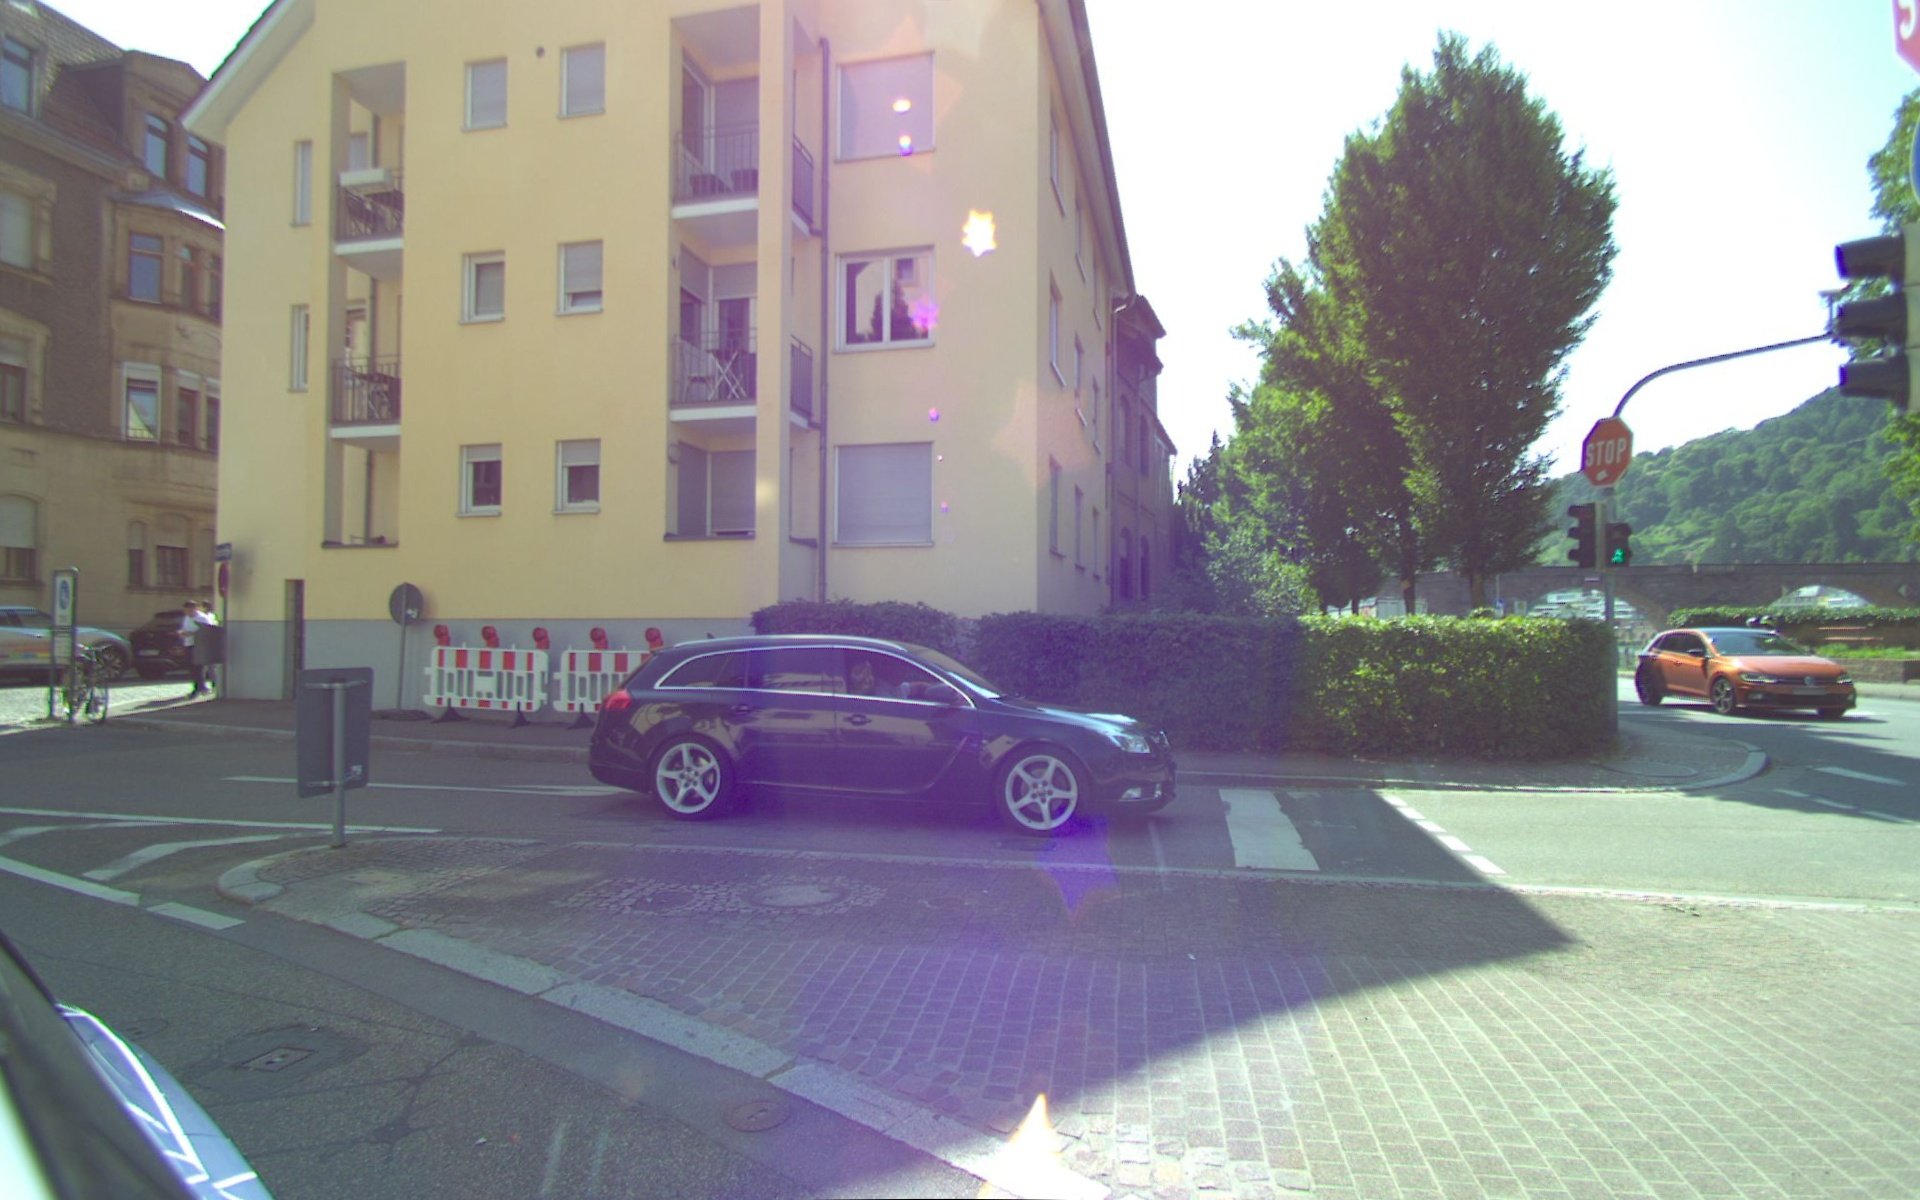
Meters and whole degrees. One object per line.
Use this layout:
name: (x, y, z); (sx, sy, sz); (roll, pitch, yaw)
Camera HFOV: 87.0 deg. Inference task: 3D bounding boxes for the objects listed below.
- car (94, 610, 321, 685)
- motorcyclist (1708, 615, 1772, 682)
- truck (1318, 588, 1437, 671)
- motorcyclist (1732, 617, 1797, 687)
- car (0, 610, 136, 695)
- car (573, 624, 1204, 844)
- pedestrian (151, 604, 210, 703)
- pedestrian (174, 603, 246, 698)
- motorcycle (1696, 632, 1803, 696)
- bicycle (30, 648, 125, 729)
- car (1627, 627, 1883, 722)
car: (-17.157, 1.040, 23.339); (1.834, 1.556, 3.984); (-1, -1, 12)
motorcyclist: (17.954, 1.100, 23.302); (0.809, 1.506, 0.872); (0, -1, 8)
truck: (23.647, 1.749, 58.210); (3.177, 4.246, 12.732); (0, -2, 8)
motorcyclist: (17.864, 1.149, 22.496); (0.809, 1.504, 0.771); (0, -2, 8)
car: (-18.426, 0.988, 19.299); (1.833, 1.556, 3.914); (0, -2, 11)
car: (-0.501, 0.980, 8.174); (4.672, 1.473, 1.714); (0, -4, 10)
pedestrian: (-13.104, 0.886, 17.017); (0.485, 1.630, 0.658); (1, -1, -8)
pedestrian: (-13.205, 0.880, 17.839); (0.684, 1.630, 0.753); (-1, -1, 14)
motorcycle: (17.887, 1.424, 23.014); (0.754, 1.387, 2.465); (0, -2, 8)
bicycle: (-12.630, 1.240, 14.467); (1.902, 1.087, 0.388); (-1, -3, 30)
car: (13.372, 1.195, 17.377); (1.711, 1.416, 4.005); (-1, -2, 10)
